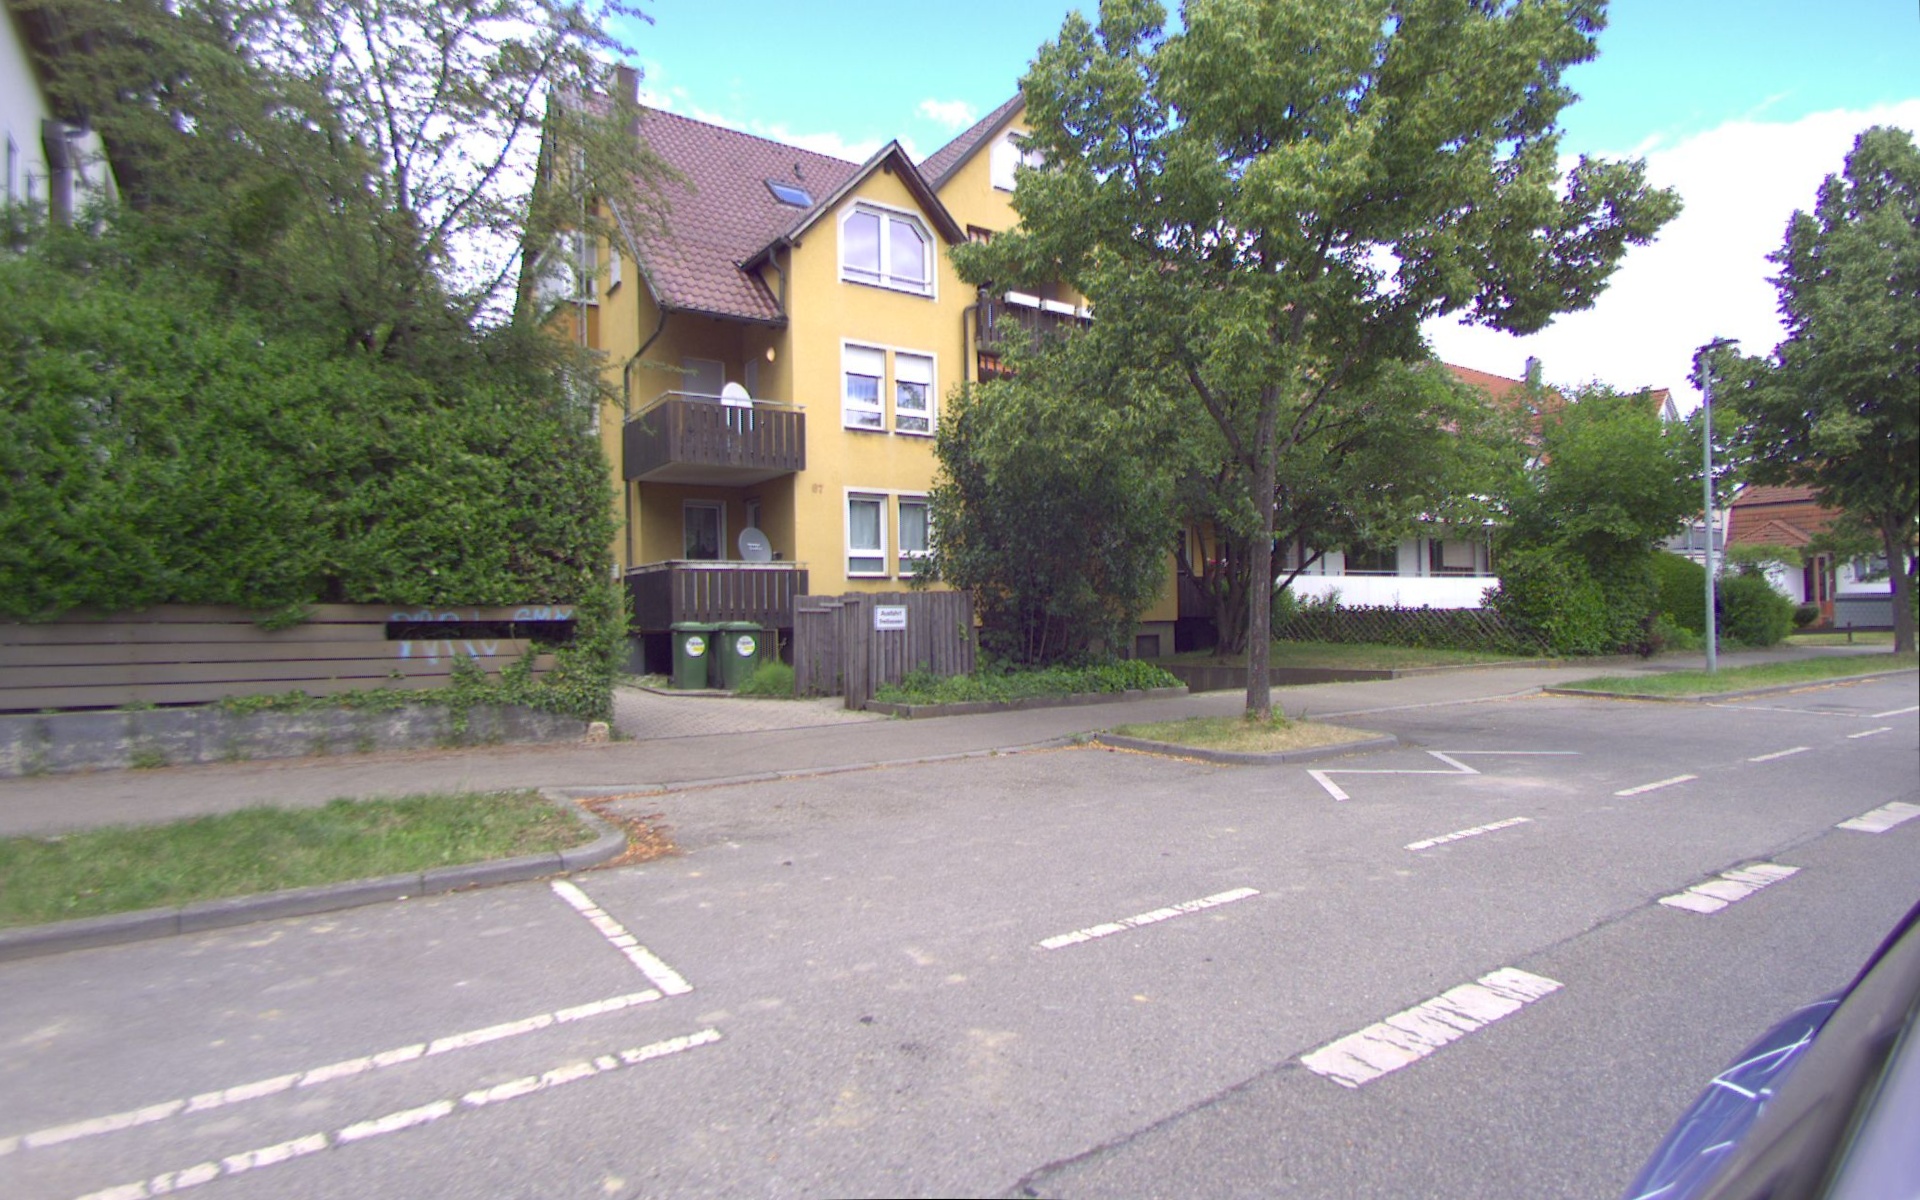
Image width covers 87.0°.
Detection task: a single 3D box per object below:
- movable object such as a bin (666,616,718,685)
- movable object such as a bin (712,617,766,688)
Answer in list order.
[{"bbox_3d":[-4.319,0.801,16.316,0.663,1.067,0.591,0,-1,-33],"label":"movable object such as a bin"},{"bbox_3d":[-3.497,0.816,15.998,0.663,1.067,0.591,0,-1,-33],"label":"movable object such as a bin"}]
